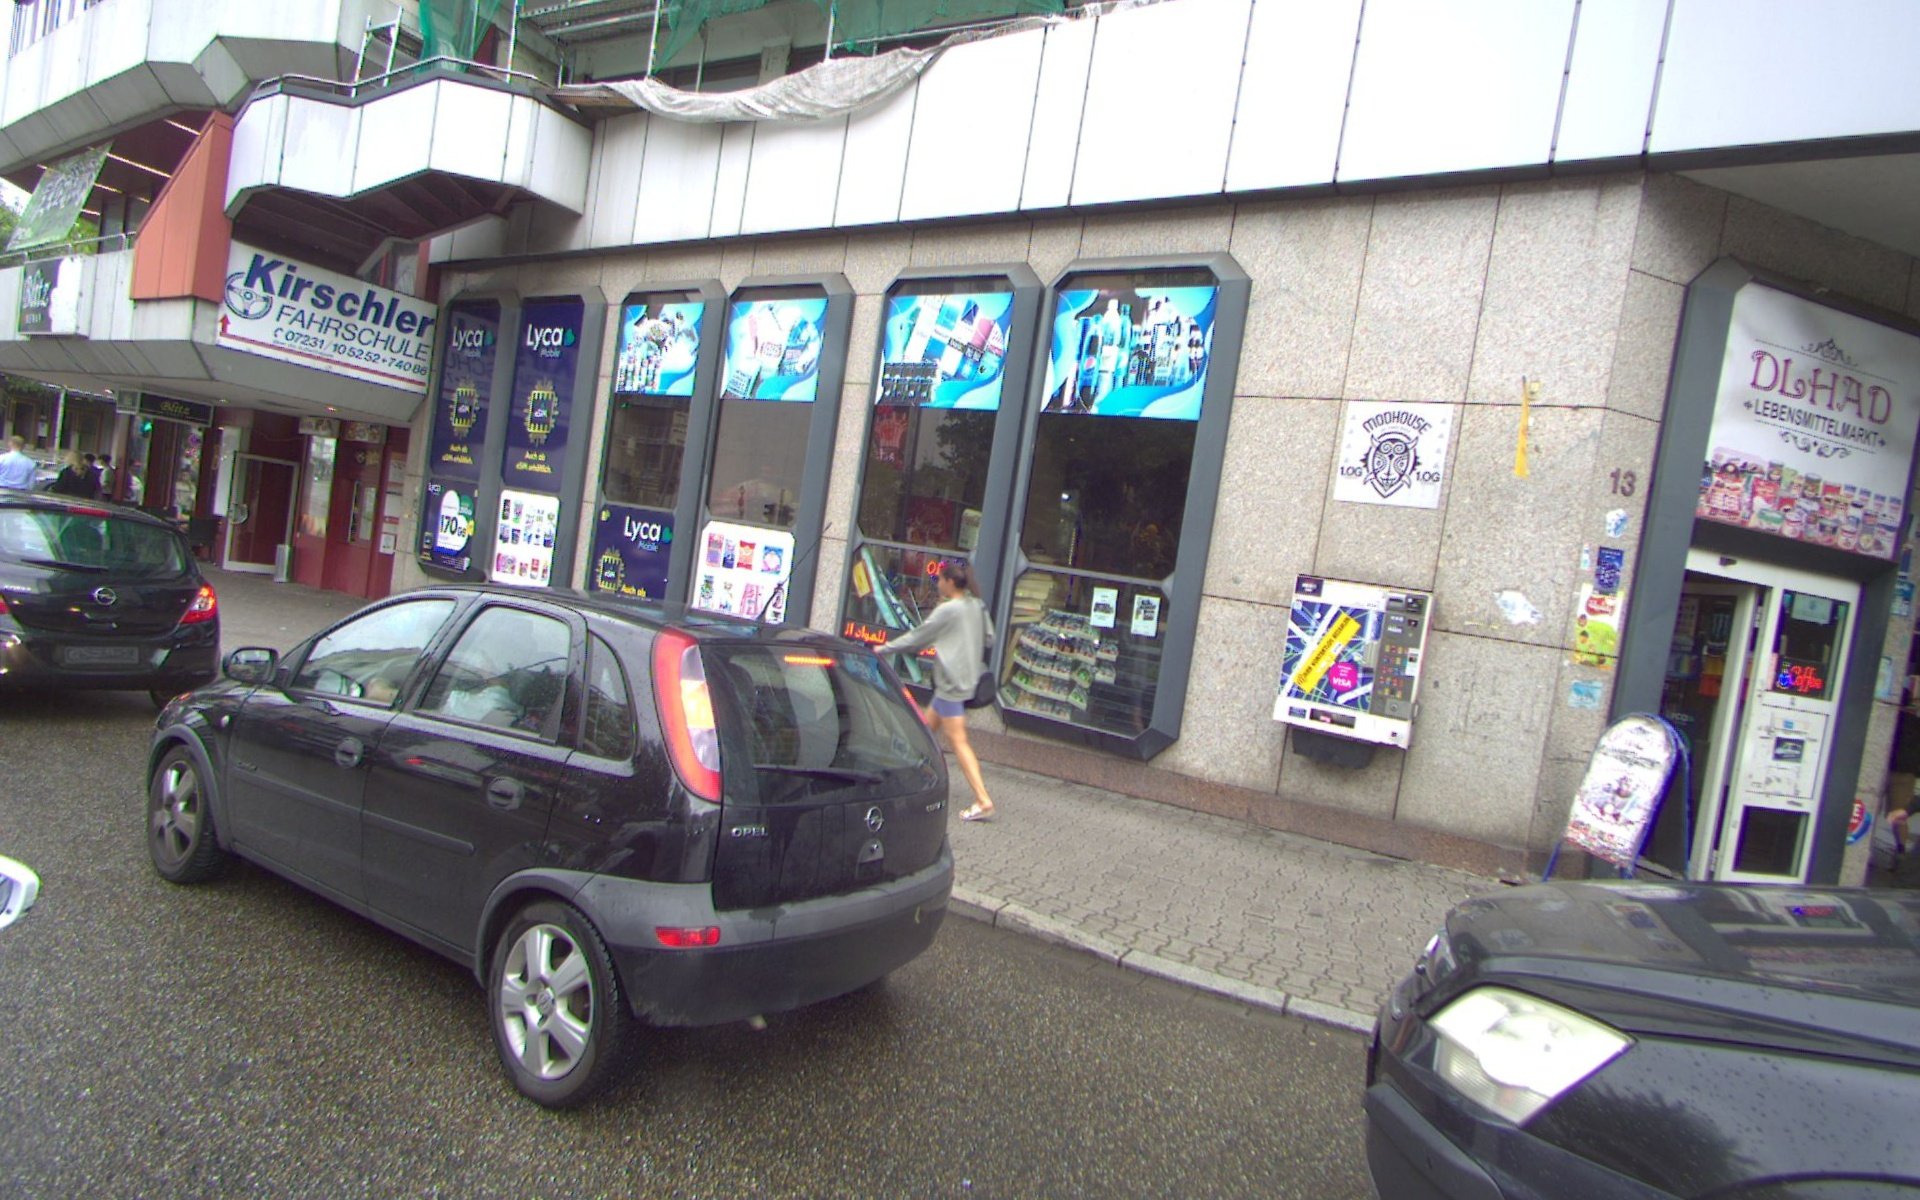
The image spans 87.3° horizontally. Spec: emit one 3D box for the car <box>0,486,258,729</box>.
[{"bbox_3d":[-7.153,-0.112,7.421,3.776,1.446,1.620,8,-1,29],"label":"car"}]

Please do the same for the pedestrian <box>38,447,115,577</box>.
[{"bbox_3d":[-13.911,-1.372,15.849,0.629,1.961,0.736,6,4,31],"label":"pedestrian"}]

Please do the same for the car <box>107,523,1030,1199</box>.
[{"bbox_3d":[-1.735,0.658,4.111,3.563,1.446,1.609,8,-1,33],"label":"car"}]

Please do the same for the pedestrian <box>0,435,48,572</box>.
[{"bbox_3d":[-14.356,-1.457,15.054,0.629,1.957,0.737,6,-1,31],"label":"pedestrian"}]

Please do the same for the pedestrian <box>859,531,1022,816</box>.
[{"bbox_3d":[-0.133,0.478,7.094,0.760,1.841,0.741,6,4,30],"label":"pedestrian"}]

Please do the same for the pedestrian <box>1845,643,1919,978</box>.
[{"bbox_3d":[5.738,1.207,5.728,0.760,1.839,0.742,7,2,32],"label":"pedestrian"}]

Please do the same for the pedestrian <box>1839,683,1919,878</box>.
[{"bbox_3d":[9.680,1.836,10.361,0.763,1.841,0.739,7,4,43],"label":"pedestrian"}]

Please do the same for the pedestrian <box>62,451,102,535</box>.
[{"bbox_3d":[-18.648,-2.263,21.359,0.443,1.704,0.426,6,1,30],"label":"pedestrian"}]

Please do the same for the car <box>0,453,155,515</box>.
[{"bbox_3d":[-28.179,-3.644,31.942,1.808,1.226,3.690,5,-3,36],"label":"car"}]

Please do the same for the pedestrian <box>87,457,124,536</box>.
[{"bbox_3d":[-18.654,-2.263,21.973,0.496,1.660,0.396,6,1,32],"label":"pedestrian"}]

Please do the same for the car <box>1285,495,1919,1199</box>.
[{"bbox_3d":[2.793,1.016,1.446,4.094,1.786,1.763,8,-1,32],"label":"car"}]
